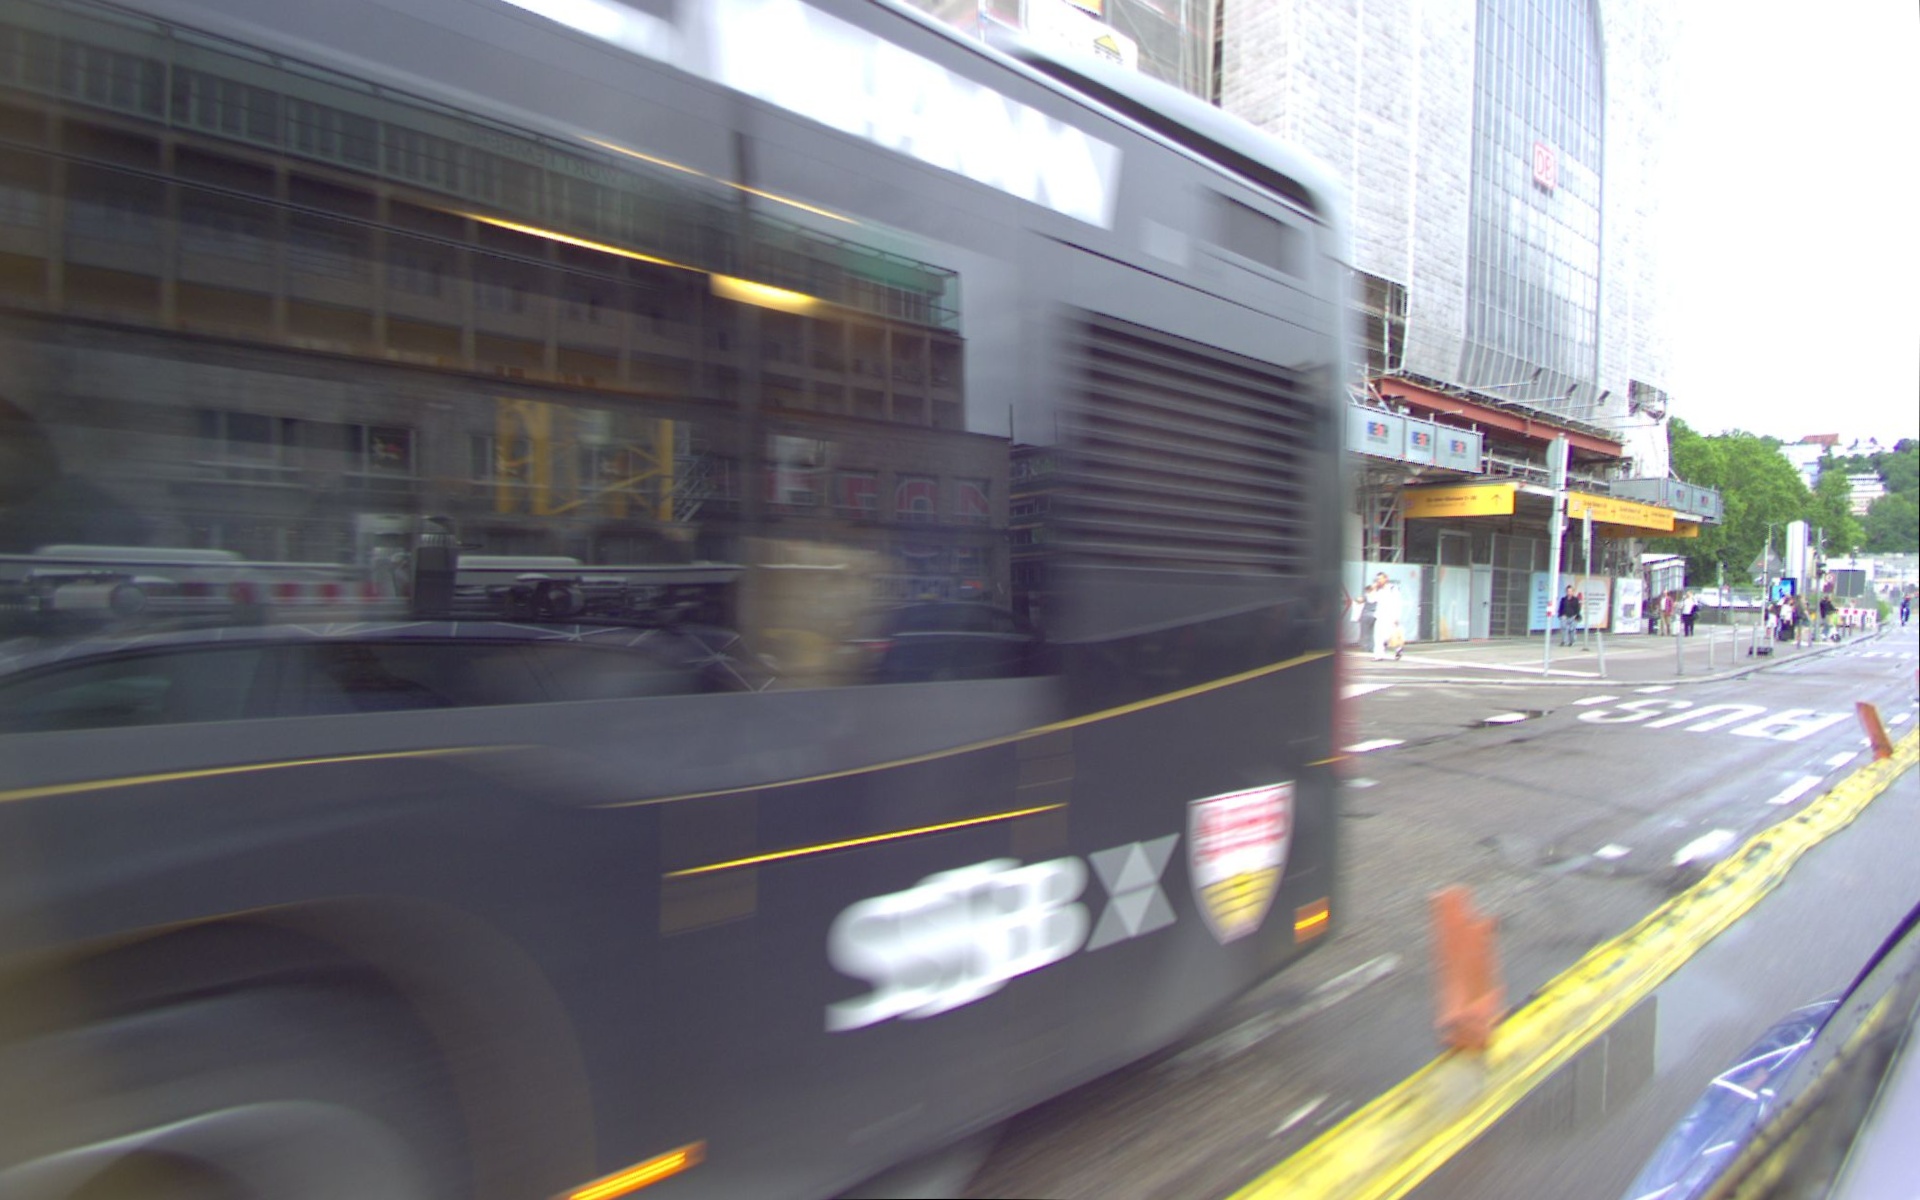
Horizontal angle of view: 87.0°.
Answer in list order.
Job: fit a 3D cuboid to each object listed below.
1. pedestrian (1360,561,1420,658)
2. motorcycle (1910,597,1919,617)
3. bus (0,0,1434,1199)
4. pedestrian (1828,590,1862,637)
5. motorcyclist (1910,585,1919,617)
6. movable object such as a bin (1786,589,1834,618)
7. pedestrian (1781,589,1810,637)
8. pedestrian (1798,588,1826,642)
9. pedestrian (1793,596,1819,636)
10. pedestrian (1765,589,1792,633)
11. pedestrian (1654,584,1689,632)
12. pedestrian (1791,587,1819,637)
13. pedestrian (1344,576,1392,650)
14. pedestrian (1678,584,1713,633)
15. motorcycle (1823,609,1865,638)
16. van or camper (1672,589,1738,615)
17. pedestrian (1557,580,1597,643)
[{"bbox_3d":[8.633,0.171,20.327,0.796,1.870,0.724,1,3,-40],"label":"pedestrian"},{"bbox_3d":[62.715,0.485,66.257,0.728,1.244,2.127,3,1,42],"label":"motorcycle"},{"bbox_3d":[-2.653,-0.090,1.663,8.919,3.107,2.760,0,0,-40],"label":"bus"},{"bbox_3d":[33.486,0.507,38.318,0.571,1.762,0.820,1,0,7],"label":"pedestrian"},{"bbox_3d":[62.798,0.067,66.323,0.724,2.062,0.578,3,0,43],"label":"motorcyclist"},{"bbox_3d":[46.170,0.193,54.984,1.502,1.510,1.306,1,1,-12],"label":"movable object such as a bin"},{"bbox_3d":[29.851,0.454,36.153,0.738,1.660,0.559,1,3,-39],"label":"pedestrian"},{"bbox_3d":[29.197,0.514,34.682,0.557,1.780,0.742,5,3,36],"label":"pedestrian"},{"bbox_3d":[32.040,0.594,38.338,0.698,1.467,0.559,1,3,-39],"label":"pedestrian"},{"bbox_3d":[31.700,0.433,39.185,0.603,1.670,0.566,1,3,-36],"label":"pedestrian"},{"bbox_3d":[26.207,0.284,37.285,1.089,1.703,0.734,1,1,-38],"label":"pedestrian"},{"bbox_3d":[30.824,0.432,36.902,0.698,1.773,0.559,1,3,-39],"label":"pedestrian"},{"bbox_3d":[9.050,0.283,22.445,0.653,1.558,0.653,1,3,-39],"label":"pedestrian"},{"bbox_3d":[26.724,0.293,36.754,0.941,1.698,0.737,1,3,-41],"label":"pedestrian"},{"bbox_3d":[33.480,0.869,38.334,0.576,1.034,1.237,1,1,7],"label":"motorcycle"},{"bbox_3d":[75.310,0.205,102.458,2.343,2.432,6.060,3,1,2],"label":"van or camper"},{"bbox_3d":[16.787,0.298,27.545,0.978,1.652,0.550,1,3,-41],"label":"pedestrian"}]
